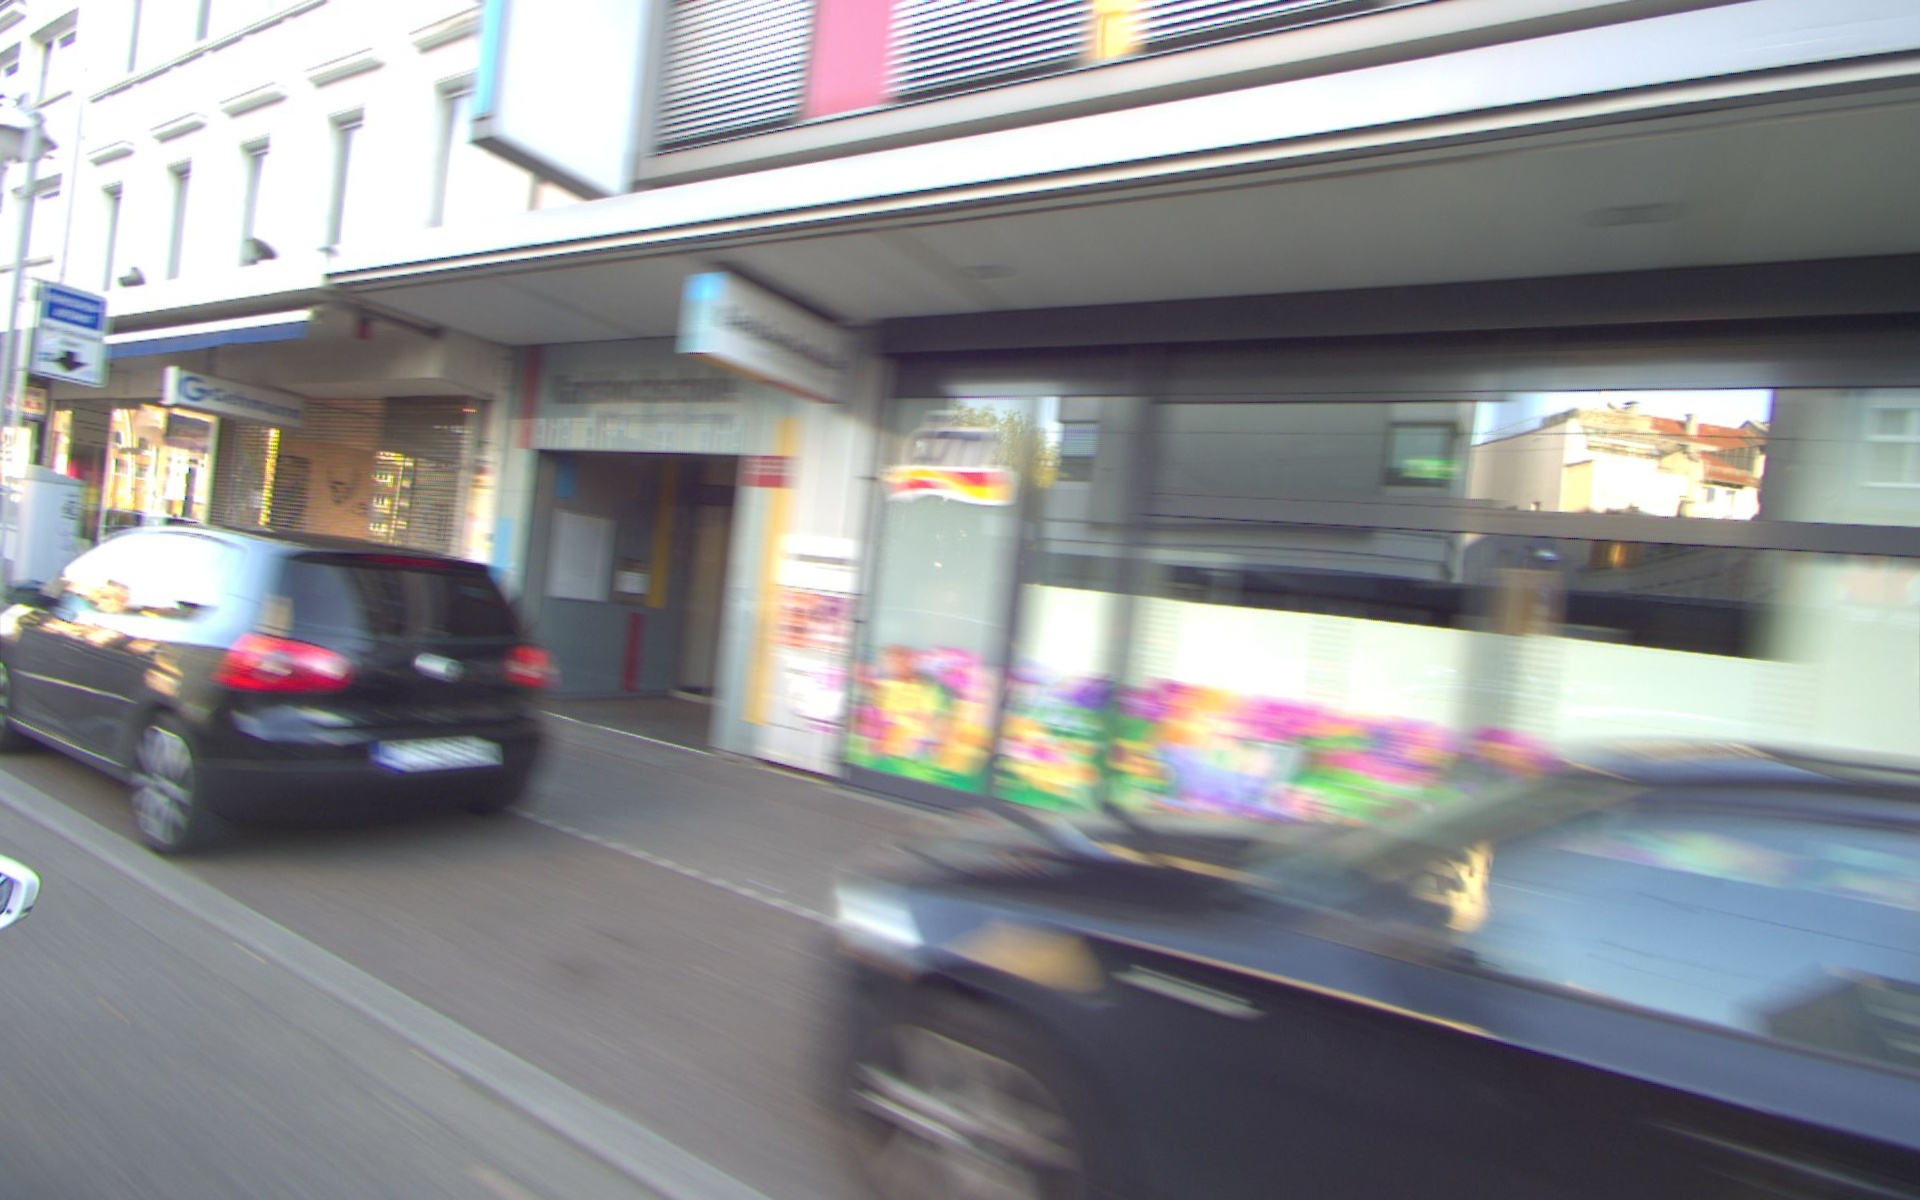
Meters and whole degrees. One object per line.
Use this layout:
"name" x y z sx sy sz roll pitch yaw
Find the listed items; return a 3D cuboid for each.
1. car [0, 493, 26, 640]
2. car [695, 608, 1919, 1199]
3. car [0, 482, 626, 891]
"car" -11.928 -0.603 10.770 3.934 1.498 1.730 6 -2 32
"car" 1.487 1.026 2.328 3.956 1.479 1.658 6 -2 32
"car" -4.061 0.299 5.780 4.004 1.530 1.769 6 -2 32
